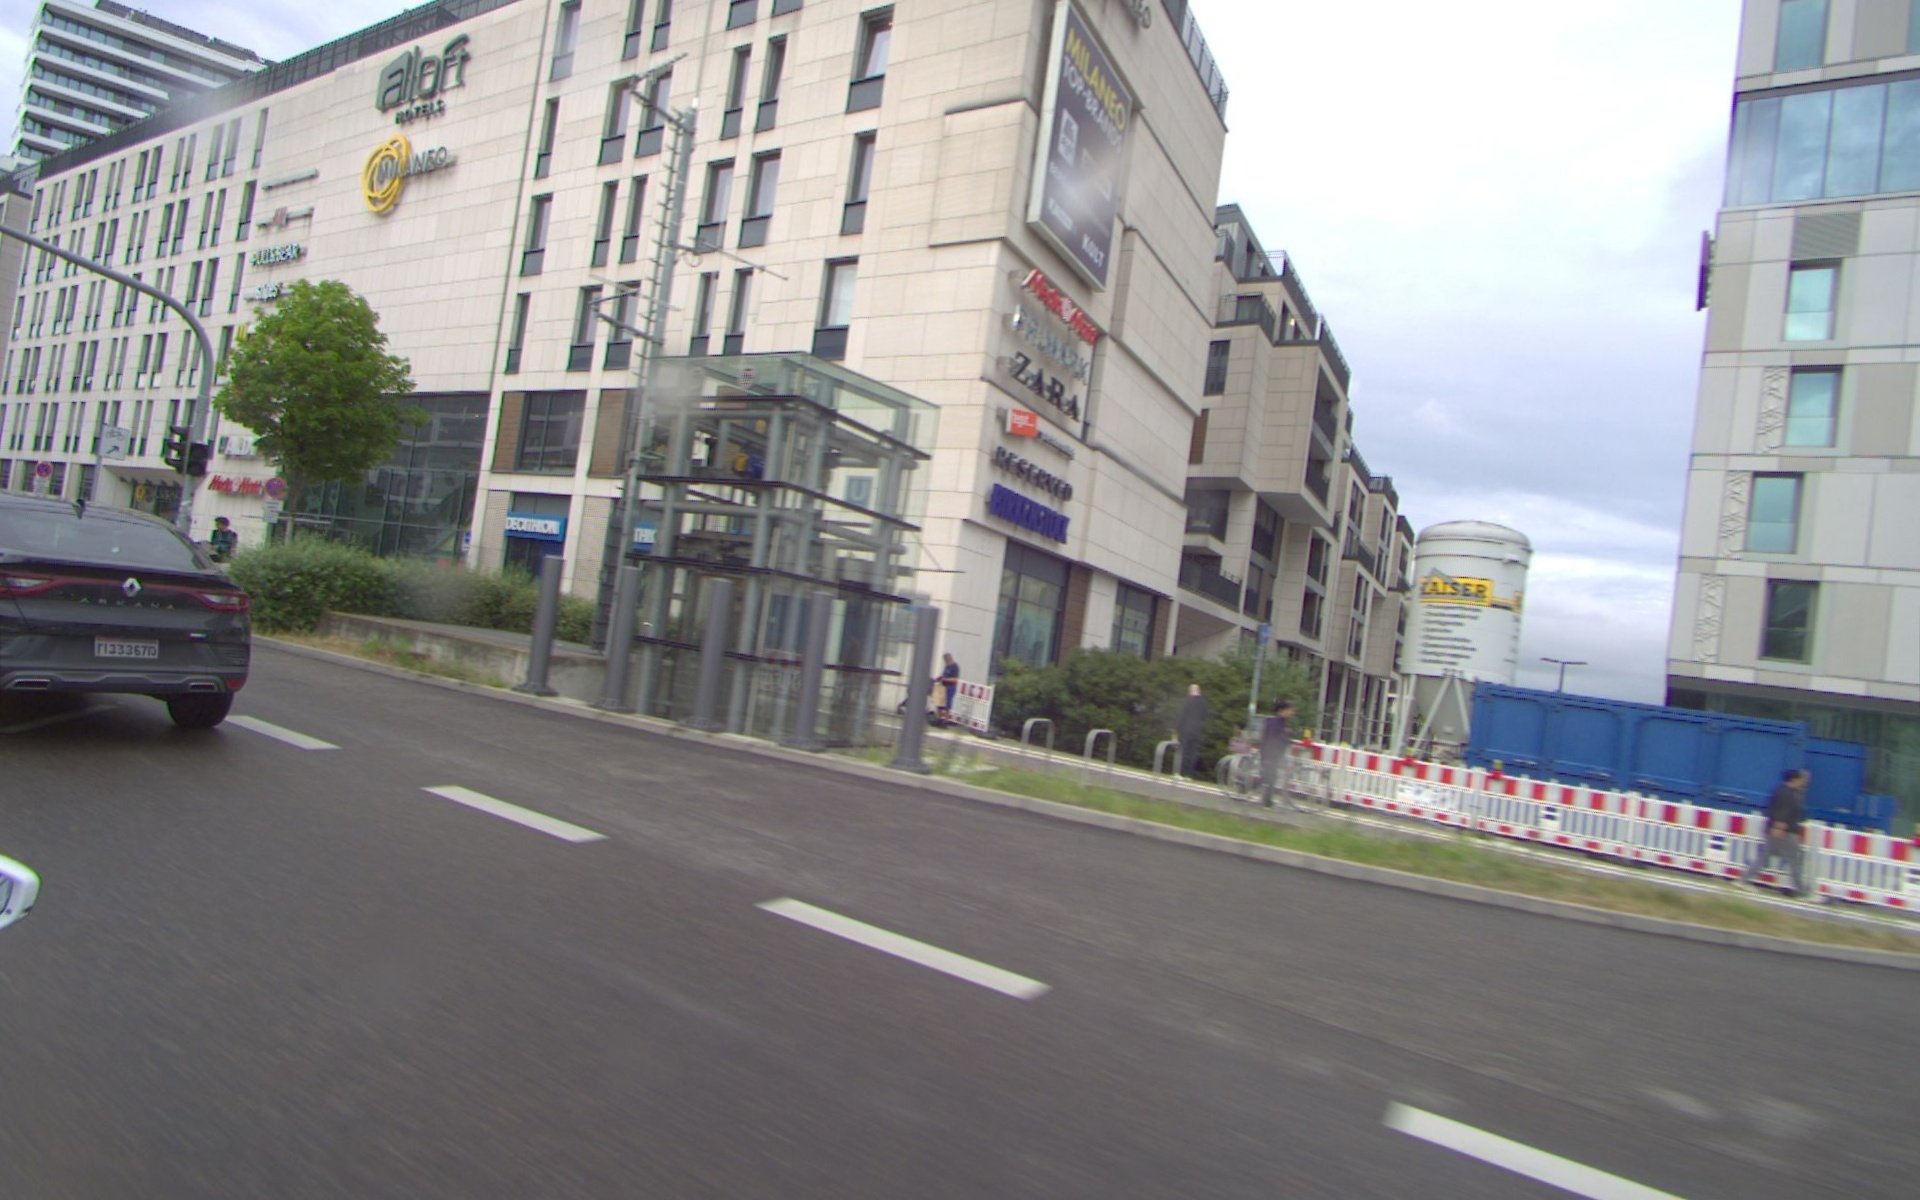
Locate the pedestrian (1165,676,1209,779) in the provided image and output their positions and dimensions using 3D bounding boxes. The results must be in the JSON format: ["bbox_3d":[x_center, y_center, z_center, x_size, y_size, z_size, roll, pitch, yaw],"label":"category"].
[{"bbox_3d":[4.167,2.324,18.429,0.584,1.801,0.441,6,-1,15],"label":"pedestrian"}]

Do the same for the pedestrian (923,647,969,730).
[{"bbox_3d":[-0.301,1.874,21.391,0.590,1.661,0.583,7,-1,-34],"label":"pedestrian"}]

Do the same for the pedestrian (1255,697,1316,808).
[{"bbox_3d":[5.156,2.397,15.921,0.686,1.629,0.552,6,-1,26],"label":"pedestrian"}]

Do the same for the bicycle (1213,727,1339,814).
[{"bbox_3d":[4.868,2.609,15.545,1.712,1.027,0.450,6,-2,28],"label":"bicycle"}]

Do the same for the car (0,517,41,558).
[{"bbox_3d":[-34.369,-2.334,35.794,3.444,1.280,1.509,6,-2,32],"label":"car"}]

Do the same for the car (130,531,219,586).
[{"bbox_3d":[-22.998,-1.235,29.420,3.457,1.280,1.503,5,-3,44],"label":"car"}]

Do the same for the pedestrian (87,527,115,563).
[{"bbox_3d":[-40.355,-2.584,47.255,0.714,1.546,0.675,6,-2,31],"label":"pedestrian"}]

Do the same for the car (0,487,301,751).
[{"bbox_3d":[-7.033,-0.039,7.485,4.266,1.524,1.794,7,-2,31],"label":"car"}]

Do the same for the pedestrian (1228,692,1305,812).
[{"bbox_3d":[4.552,2.231,14.944,0.805,1.629,0.614,6,-1,32],"label":"pedestrian"}]

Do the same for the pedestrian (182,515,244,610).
[{"bbox_3d":[-15.481,-0.775,20.860,0.502,1.853,0.728,6,-1,31],"label":"pedestrian"}]

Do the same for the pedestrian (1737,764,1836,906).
[{"bbox_3d":[11.132,3.133,13.577,0.810,1.691,0.622,6,-1,32],"label":"pedestrian"}]
